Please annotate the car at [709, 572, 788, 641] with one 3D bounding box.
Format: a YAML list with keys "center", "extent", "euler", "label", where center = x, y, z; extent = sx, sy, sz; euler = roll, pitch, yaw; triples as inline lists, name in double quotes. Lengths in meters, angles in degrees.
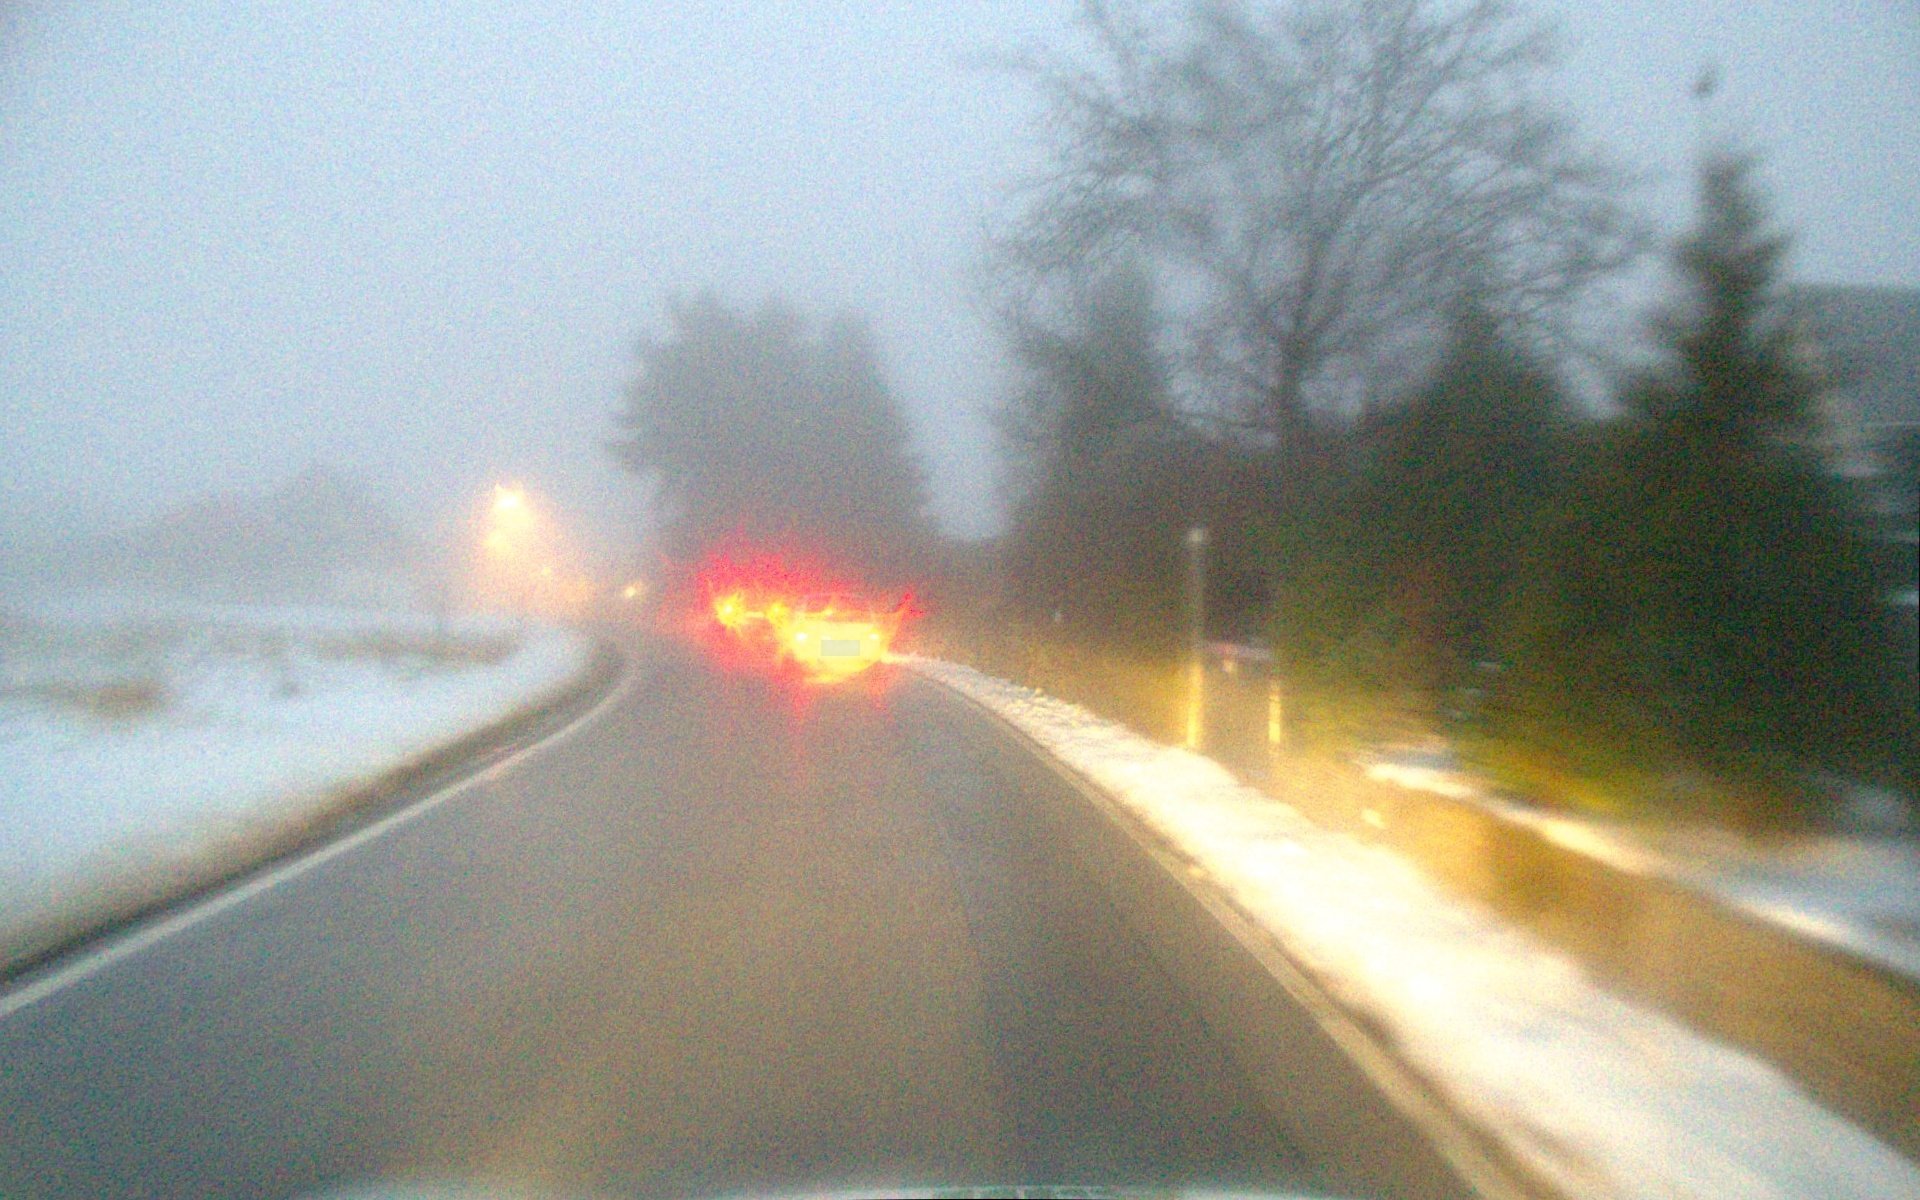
- center: [-5.856, 0.186, 45.510]
  extent: [1.957, 1.780, 3.990]
  euler: [1, -1, -10]
  label: "car"

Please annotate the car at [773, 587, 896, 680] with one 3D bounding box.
- center: [-2.328, 0.589, 29.807]
  extent: [1.956, 1.534, 3.993]
  euler: [1, -1, -8]
  label: "car"
